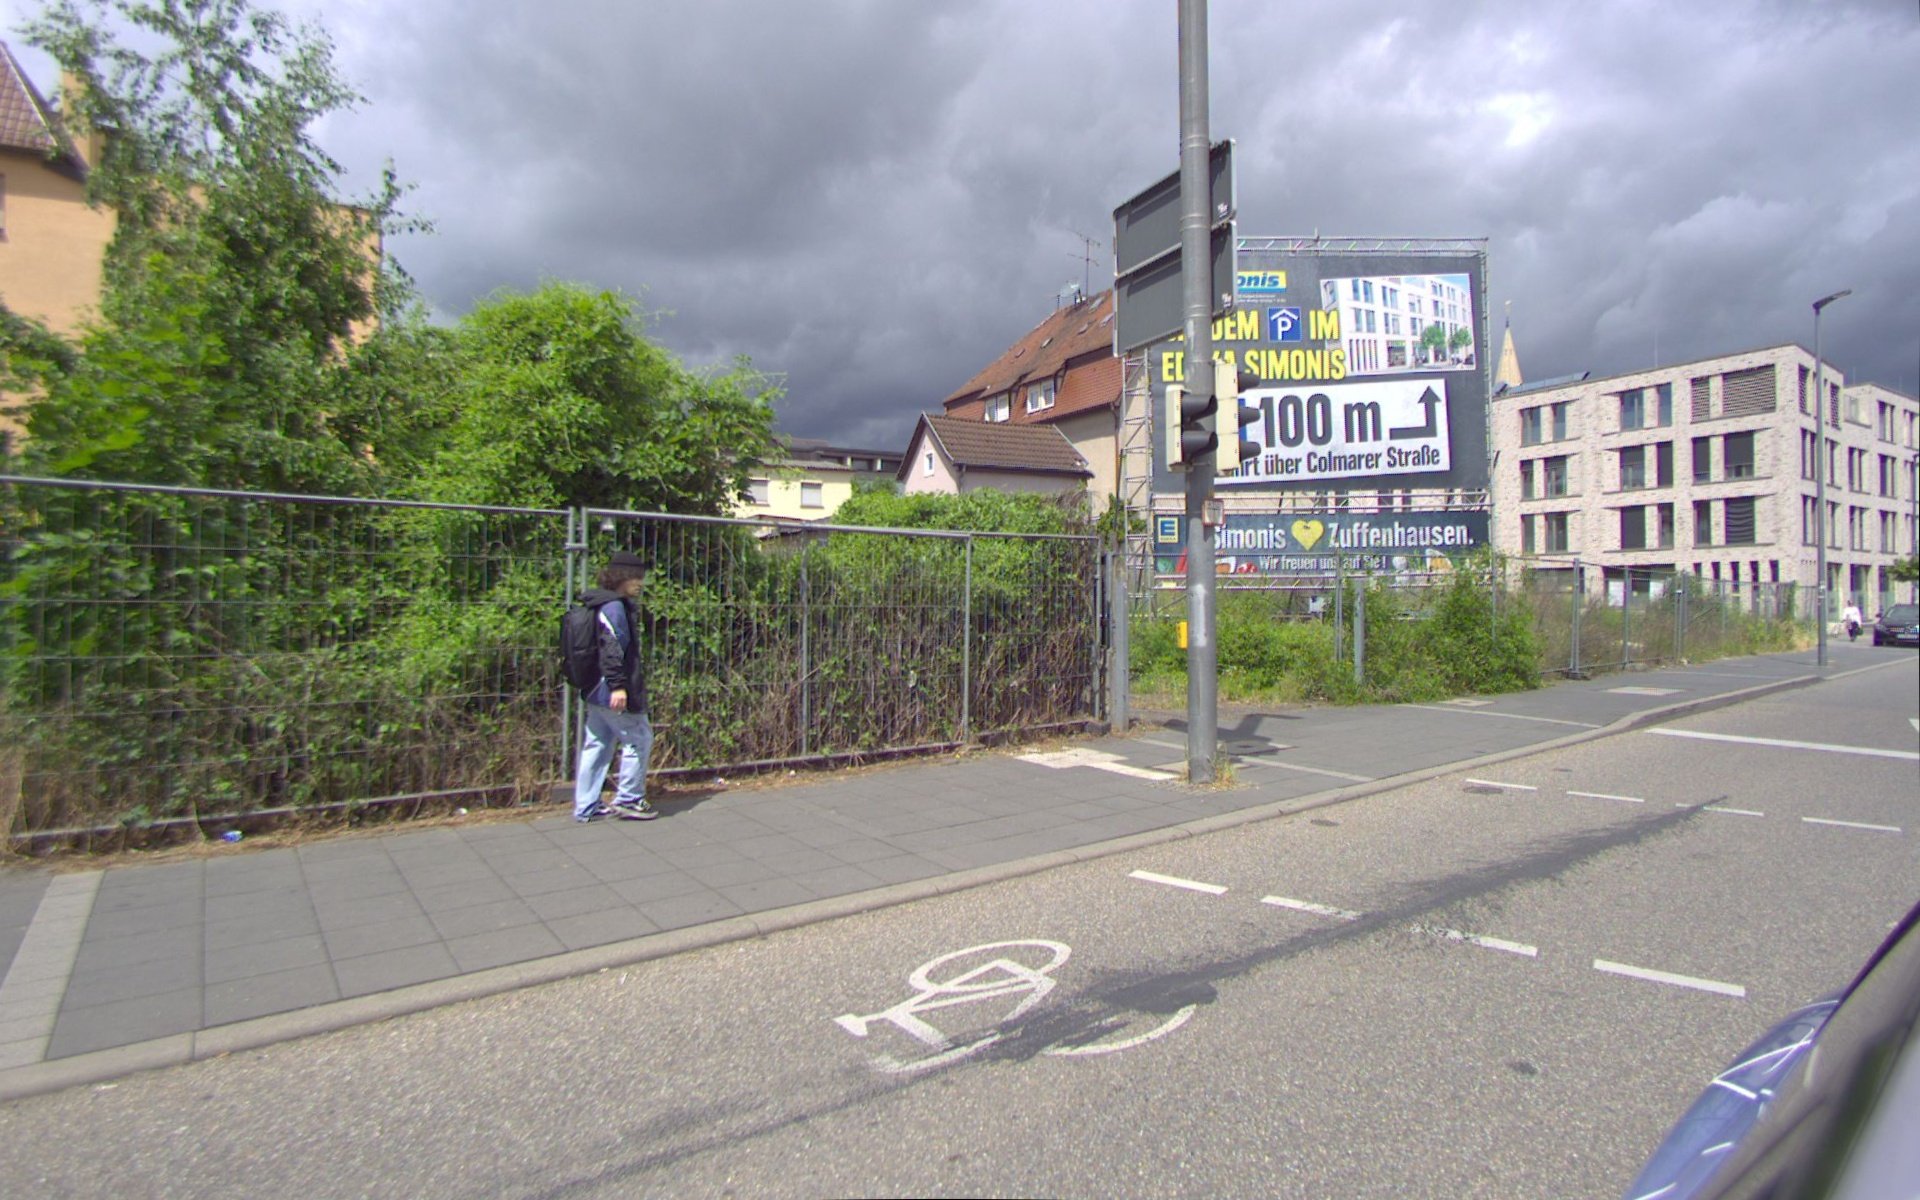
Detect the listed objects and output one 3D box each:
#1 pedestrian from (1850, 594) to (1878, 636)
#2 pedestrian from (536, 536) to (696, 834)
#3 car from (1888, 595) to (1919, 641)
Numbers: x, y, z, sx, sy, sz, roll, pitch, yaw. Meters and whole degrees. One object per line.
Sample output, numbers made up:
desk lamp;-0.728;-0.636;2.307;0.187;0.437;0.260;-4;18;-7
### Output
pedestrian;33.305;0.546;37.279;0.769;1.531;0.673;1;0;-41
pedestrian;-2.110;0.476;6.178;0.762;1.663;0.768;2;0;-29
car;32.726;0.601;34.022;3.726;1.441;1.678;-1;2;-39
